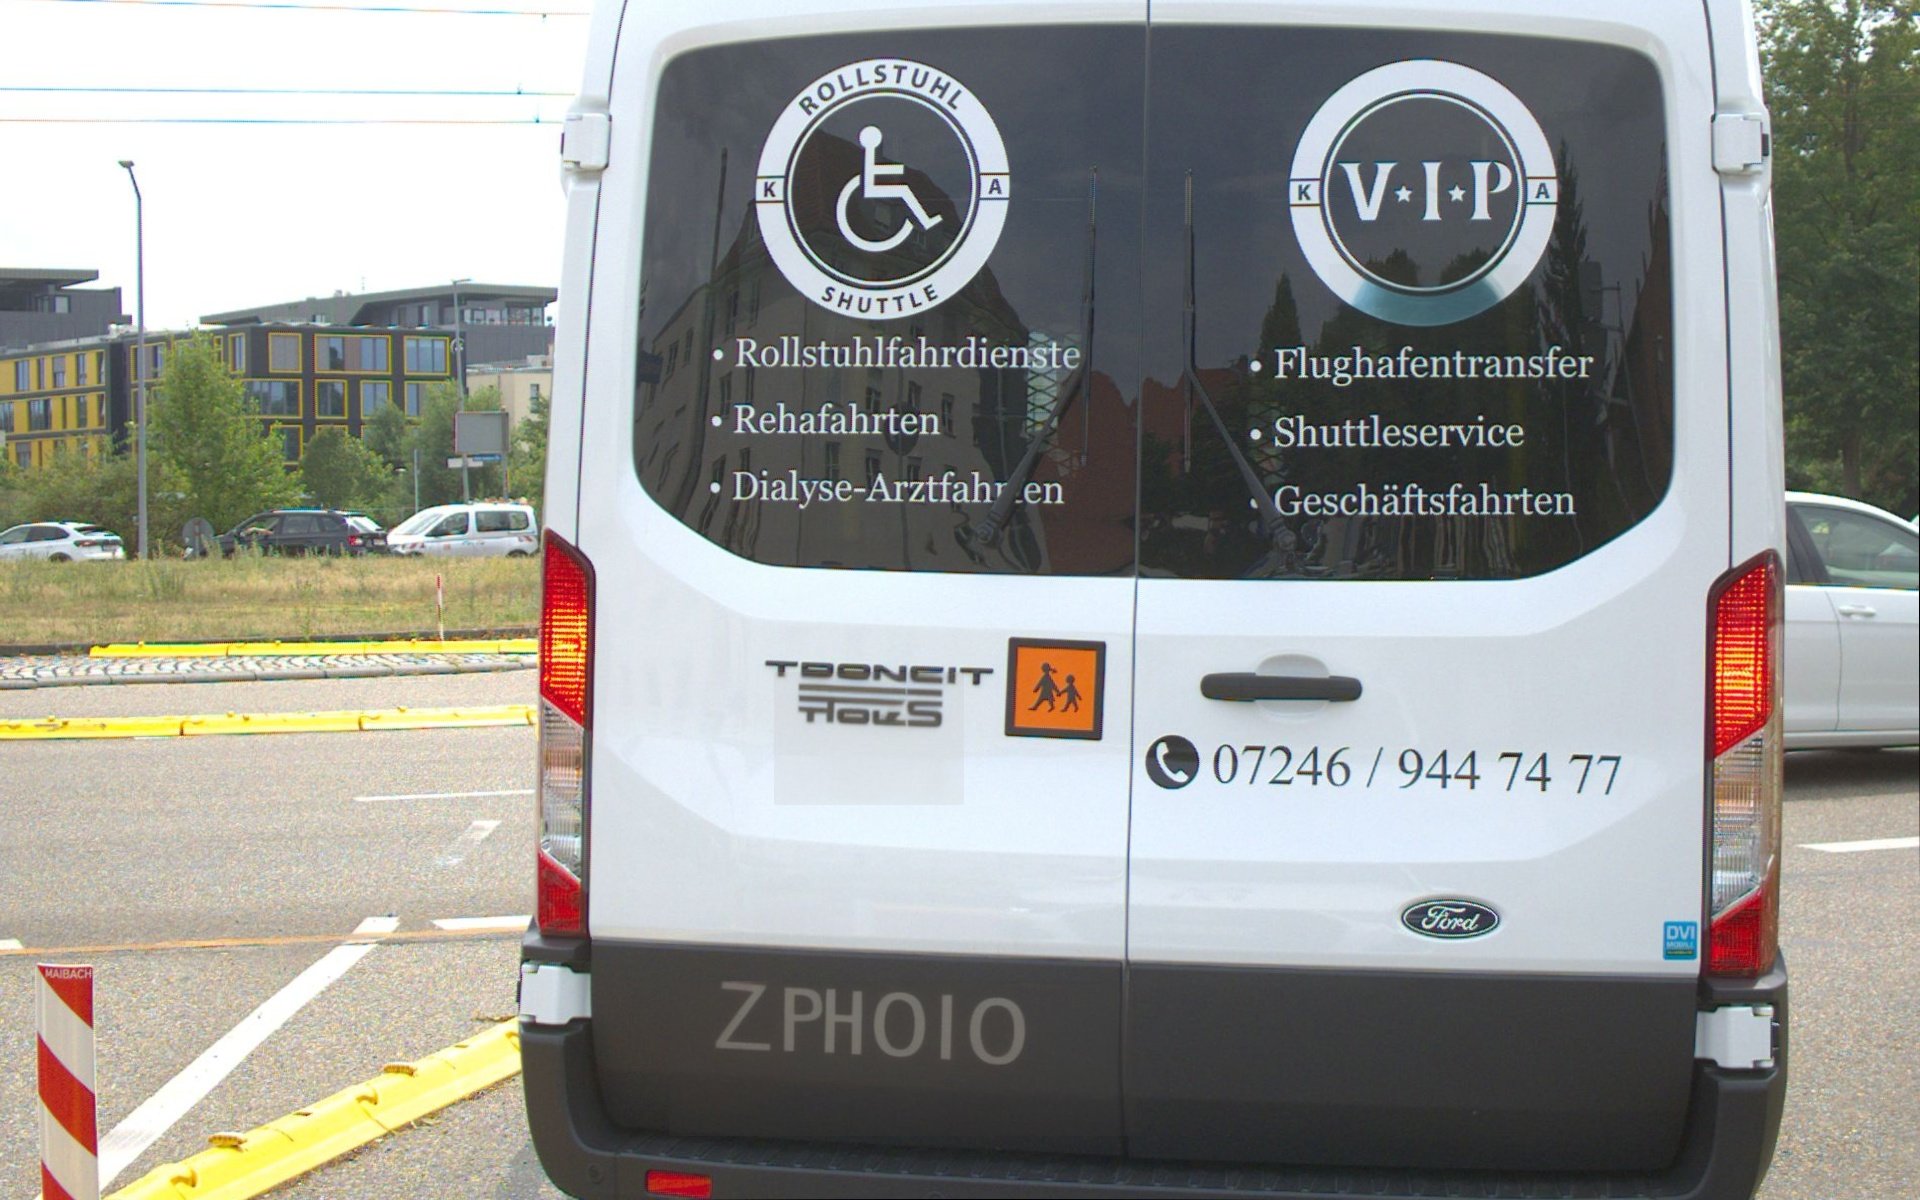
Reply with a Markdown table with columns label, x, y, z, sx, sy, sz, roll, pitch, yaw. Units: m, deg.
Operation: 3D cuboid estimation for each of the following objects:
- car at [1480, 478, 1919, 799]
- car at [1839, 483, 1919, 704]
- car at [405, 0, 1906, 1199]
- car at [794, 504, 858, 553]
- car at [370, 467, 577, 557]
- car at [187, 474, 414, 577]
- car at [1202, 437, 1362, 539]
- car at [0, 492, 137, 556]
| label | x | y | z | sx | sy | sz | roll | pitch | yaw |
| --- | --- | --- | --- | --- | --- | --- | --- | --- | --- |
| car | 4.975 | 0.119 | 17.720 | 4.245 | 1.492 | 1.802 | -1 | 2 | -25 |
| car | 8.342 | -0.080 | 24.062 | 4.103 | 1.492 | 1.802 | -1 | 2 | -28 |
| car | 0.593 | -0.023 | 7.684 | 2.127 | 2.688 | 5.630 | 0 | 1 | 7 |
| car | -4.044 | -2.146 | 104.198 | 1.827 | 1.458 | 4.000 | 0 | 1 | -1 |
| car | -11.348 | -2.020 | 80.173 | 4.347 | 2.007 | 2.000 | 0 | 0 | -28 |
| car | -13.193 | -1.488 | 68.824 | 3.990 | 2.007 | 1.998 | 1 | 0 | 18 |
| car | 7.324 | -2.555 | 78.591 | 2.024 | 2.271 | 4.161 | -1 | 2 | -20 |
| car | -21.558 | -1.786 | 80.761 | 3.991 | 1.458 | 1.831 | 1 | 0 | 22 |
